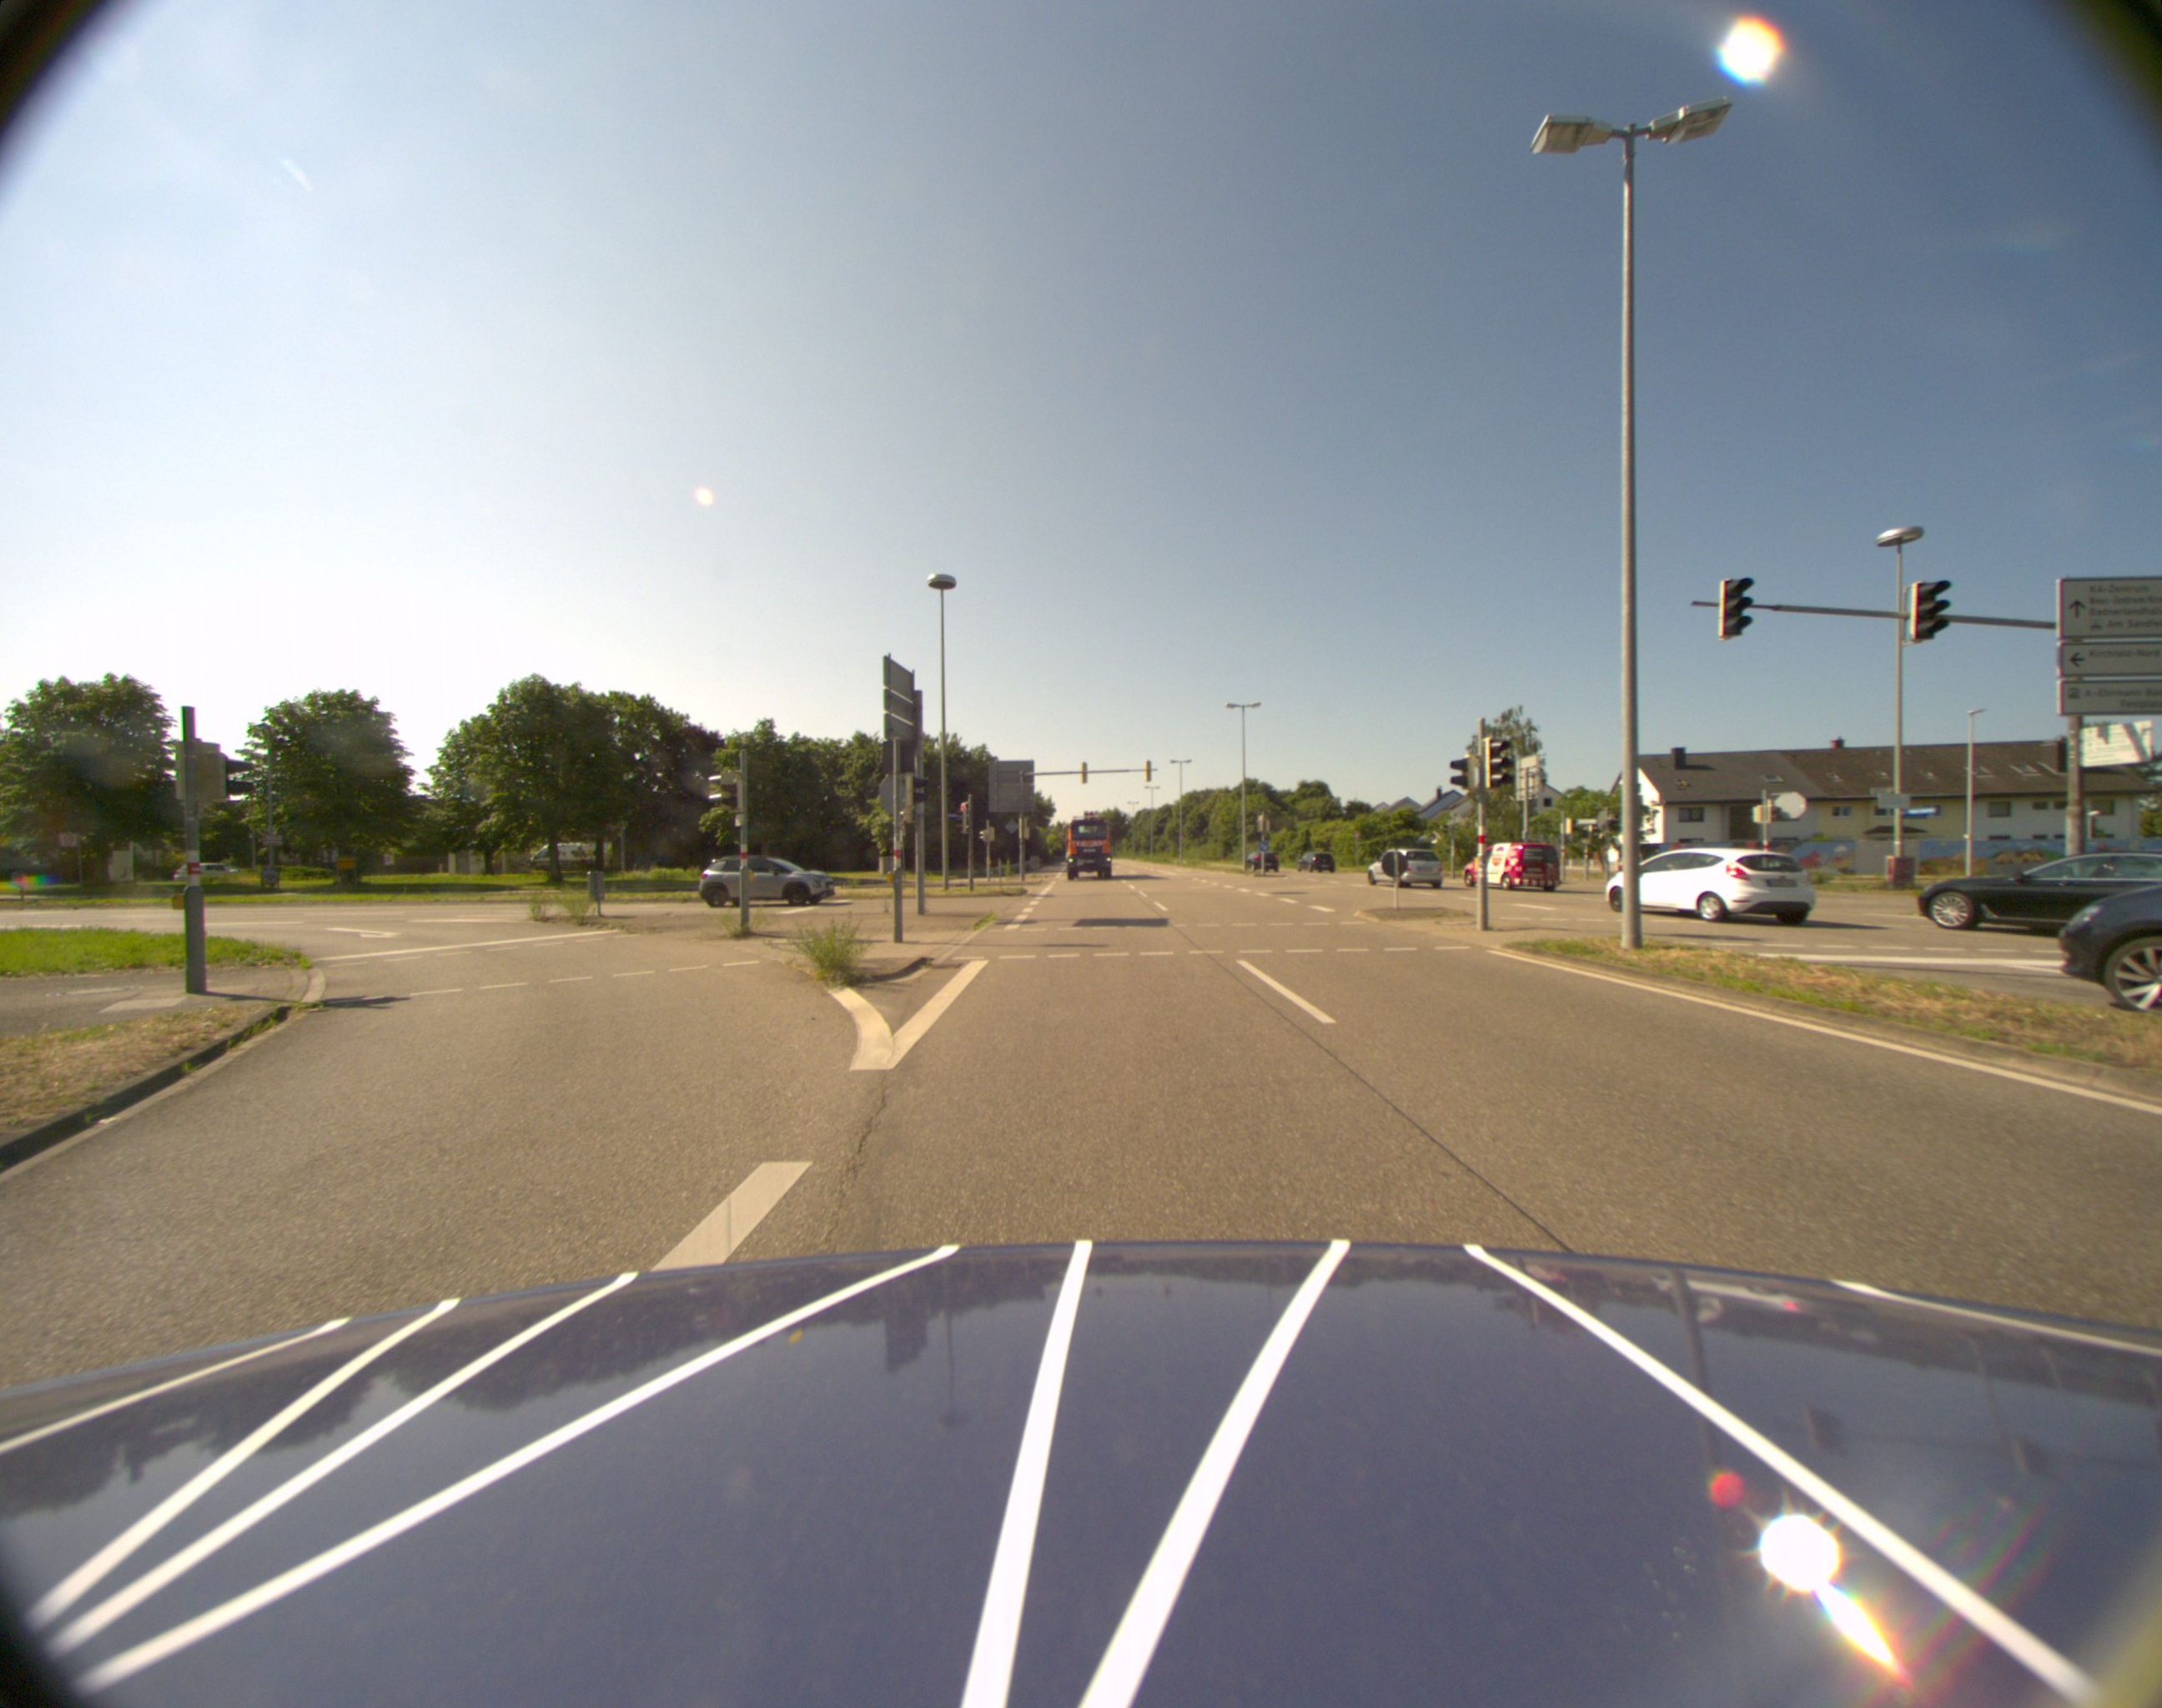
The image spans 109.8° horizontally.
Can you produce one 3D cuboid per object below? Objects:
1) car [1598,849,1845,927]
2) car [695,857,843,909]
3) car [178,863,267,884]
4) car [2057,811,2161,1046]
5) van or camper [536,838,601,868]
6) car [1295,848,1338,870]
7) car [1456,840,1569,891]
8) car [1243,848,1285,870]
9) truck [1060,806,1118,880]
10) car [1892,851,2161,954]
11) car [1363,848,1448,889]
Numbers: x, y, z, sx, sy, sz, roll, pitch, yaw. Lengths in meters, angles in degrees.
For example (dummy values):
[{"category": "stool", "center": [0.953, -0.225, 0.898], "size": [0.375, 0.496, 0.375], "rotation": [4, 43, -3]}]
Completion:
[{"category": "car", "center": [12.916, 0.597, 15.685], "size": [1.833, 1.378, 3.842], "rotation": [-1, 1, -1]}, {"category": "car", "center": [-10.048, 0.908, 24.707], "size": [4.062, 1.555, 1.742], "rotation": [-1, 1, 0]}, {"category": "car", "center": [-60.788, 1.357, 53.914], "size": [1.731, 1.281, 4.000], "rotation": [-1, 1, 1]}, {"category": "car", "center": [9.005, 0.585, 3.972], "size": [1.986, 1.740, 4.507], "rotation": [1, 1, 1]}, {"category": "van or camper", "center": [-49.974, -0.090, 74.163], "size": [4.812, 2.815, 1.999], "rotation": [-1, 1, -2]}, {"category": "car", "center": [16.645, 0.330, 53.911], "size": [1.889, 1.449, 4.229], "rotation": [-1, 1, 3]}, {"category": "car", "center": [16.170, 0.377, 28.747], "size": [1.709, 1.759, 4.227], "rotation": [0, 1, -3]}, {"category": "car", "center": [12.688, 0.332, 52.962], "size": [1.986, 1.449, 4.332], "rotation": [-1, 1, 1]}, {"category": "truck", "center": [0.457, -0.629, 43.581], "size": [2.940, 3.853, 6.590], "rotation": [-2, 1, 1]}, {"category": "car", "center": [16.715, 0.752, 11.840], "size": [1.999, 1.465, 5.615], "rotation": [3, 1, -1]}, {"category": "car", "center": [12.459, 0.524, 29.423], "size": [1.623, 1.449, 3.871], "rotation": [-1, 1, 0]}]
